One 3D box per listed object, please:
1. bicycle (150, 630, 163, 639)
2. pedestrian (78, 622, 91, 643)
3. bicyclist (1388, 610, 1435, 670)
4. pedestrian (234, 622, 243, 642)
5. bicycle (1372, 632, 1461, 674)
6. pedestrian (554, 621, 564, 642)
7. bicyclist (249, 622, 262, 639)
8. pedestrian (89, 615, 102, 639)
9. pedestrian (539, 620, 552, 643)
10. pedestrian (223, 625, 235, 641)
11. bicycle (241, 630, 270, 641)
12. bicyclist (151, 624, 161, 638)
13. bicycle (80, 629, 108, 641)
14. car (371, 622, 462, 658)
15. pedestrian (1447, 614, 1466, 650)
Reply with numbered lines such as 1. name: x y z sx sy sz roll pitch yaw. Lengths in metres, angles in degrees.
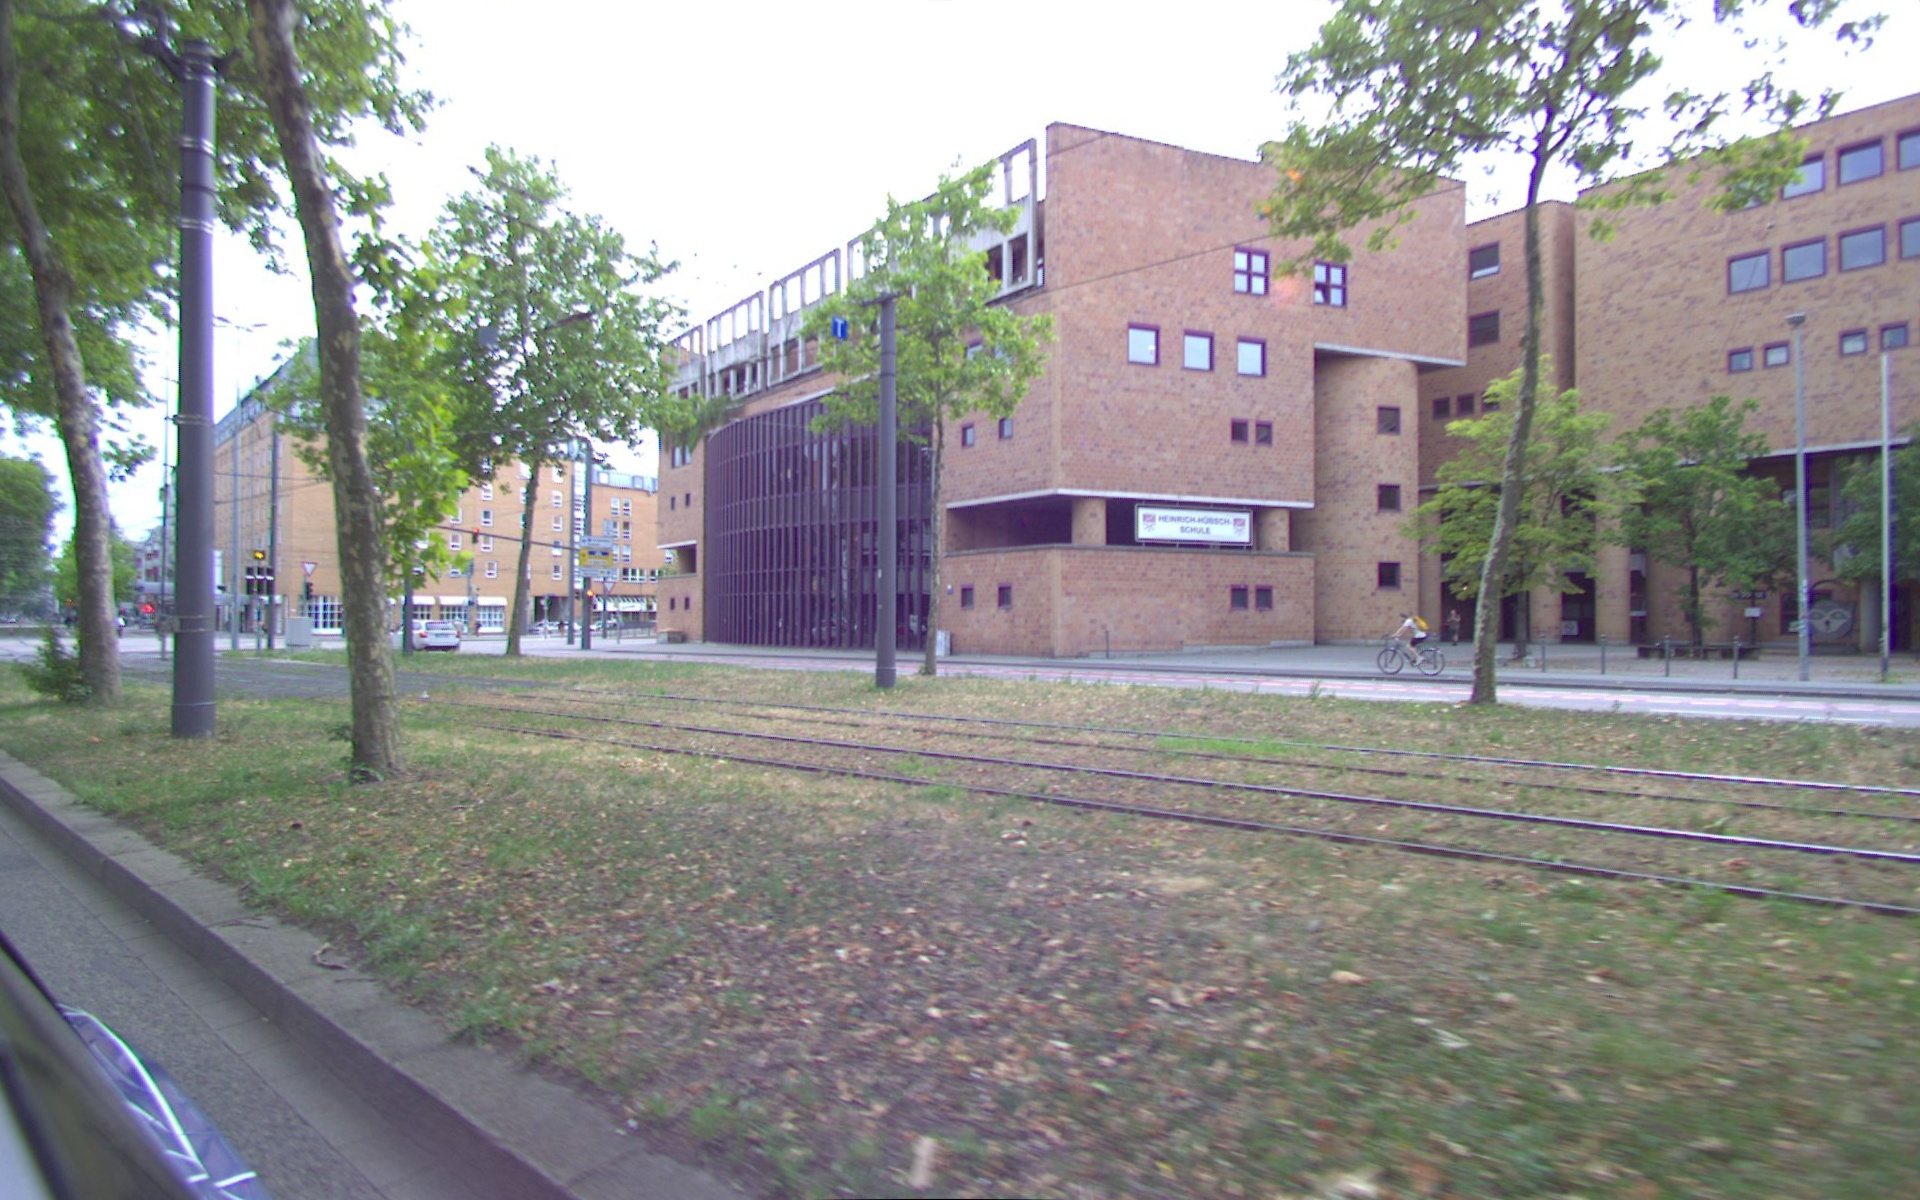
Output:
1. bicycle: -86.908 3.741 109.433 1.889 0.943 0.651 0 -2 37
2. pedestrian: -73.212 2.703 84.615 0.533 1.719 0.677 0 -2 32
3. bicyclist: 12.283 1.092 27.562 0.984 1.603 0.656 -2 -2 44
4. pedestrian: -64.770 2.869 90.823 0.534 1.719 0.556 -1 -2 41
5. bicycle: 12.368 1.428 27.470 2.094 1.092 0.660 -2 -2 44
6. pedestrian: -32.400 2.552 81.782 0.543 1.745 0.533 -1 -2 39
7. bicyclist: -63.185 2.695 90.785 0.852 1.512 0.638 2 -2 -38
8. pedestrian: -71.172 2.219 83.309 0.534 1.967 0.684 -1 -2 39
9. pedestrian: -32.805 2.485 80.092 0.750 1.745 0.571 -1 -2 39
10. pedestrian: -69.953 3.196 96.846 0.642 1.518 0.534 0 -1 6
11. bicycle: -63.183 3.182 90.773 2.027 1.016 0.641 1 -2 -38
12. bicyclist: -86.894 3.354 109.428 0.816 1.512 0.643 -1 -2 36
13. bicycle: -71.402 2.881 83.453 0.499 0.895 1.688 -1 -2 43
14. car: -22.969 1.663 42.733 4.654 1.432 1.766 -2 -2 40
15. pedestrian: 21.635 1.390 44.105 0.500 1.543 0.521 1 -2 -34
